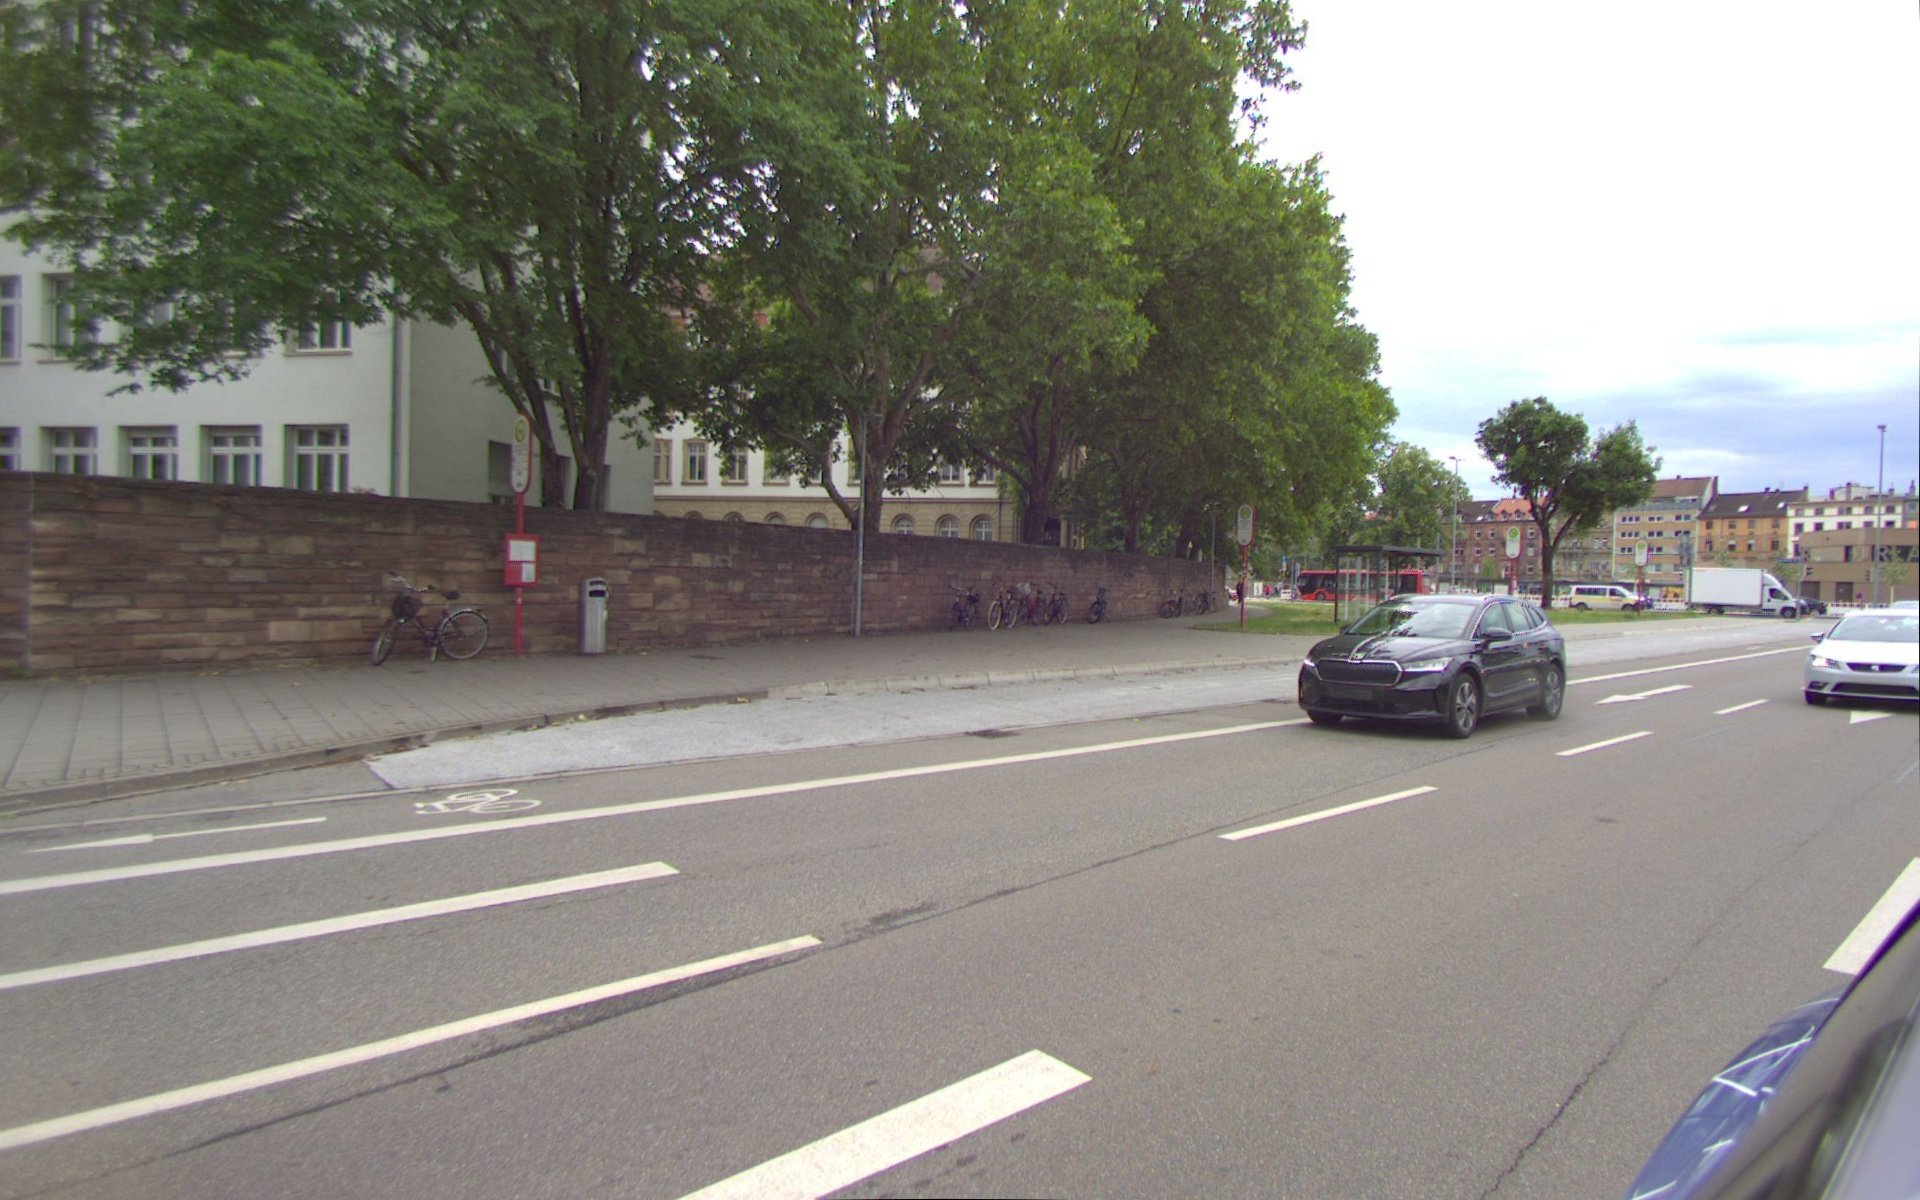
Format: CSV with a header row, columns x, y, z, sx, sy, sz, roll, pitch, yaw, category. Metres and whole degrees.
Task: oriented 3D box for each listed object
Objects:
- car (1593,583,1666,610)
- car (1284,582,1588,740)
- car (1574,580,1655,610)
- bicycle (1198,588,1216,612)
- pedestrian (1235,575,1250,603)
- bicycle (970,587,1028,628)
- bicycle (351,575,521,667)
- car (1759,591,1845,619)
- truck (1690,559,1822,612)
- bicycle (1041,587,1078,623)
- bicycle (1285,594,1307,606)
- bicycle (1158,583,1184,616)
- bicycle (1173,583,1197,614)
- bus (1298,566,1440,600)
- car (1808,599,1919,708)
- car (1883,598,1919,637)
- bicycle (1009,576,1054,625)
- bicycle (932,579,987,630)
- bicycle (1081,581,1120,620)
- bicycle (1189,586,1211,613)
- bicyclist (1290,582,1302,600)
x,y,z,sx,sy,sz,roll,pitch,yaw,category
51.682,-0.293,78.170,1.736,1.767,4.421,1,3,-45,car
6.093,0.625,12.708,4.414,1.645,1.910,0,0,-42,car
48.167,-0.401,74.494,1.889,1.942,4.704,-3,4,-44,car
10.807,-0.007,44.179,0.544,1.004,1.626,3,2,20,bicycle
18.387,-0.718,65.868,0.745,1.756,0.821,3,2,10,pedestrian
1.003,0.166,25.579,0.650,0.963,1.750,3,2,31,bicycle
-7.192,0.249,13.982,0.845,1.141,1.900,4,3,34,bicycle
59.006,0.313,71.012,4.250,1.657,1.672,4,2,29,car
53.907,-1.023,68.675,6.835,3.453,2.520,1,2,45,truck
2.818,0.132,28.549,0.414,0.954,1.508,3,2,31,bicycle
30.011,-0.018,90.344,1.687,0.926,0.757,4,3,39,bicycle
7.928,-0.037,37.982,0.589,1.150,1.700,3,2,23,bicycle
8.783,-0.066,39.483,0.589,1.143,1.700,3,2,23,bicycle
37.488,-1.654,93.301,2.889,2.944,12.067,1,1,-44,bus
14.446,0.743,15.425,3.803,1.481,1.784,0,1,-41,car
37.707,0.666,39.794,3.596,1.484,1.669,0,1,-41,car
1.926,0.003,27.133,0.497,1.236,1.609,3,2,31,bicycle
0.006,0.089,23.828,0.712,1.113,1.780,3,2,20,bicycle
4.239,0.012,30.437,0.593,1.118,1.638,3,2,29,bicycle
10.121,-0.040,42.608,0.589,1.072,1.700,3,2,23,bicycle
30.037,-0.820,90.339,0.737,1.526,0.757,4,2,39,bicyclist
